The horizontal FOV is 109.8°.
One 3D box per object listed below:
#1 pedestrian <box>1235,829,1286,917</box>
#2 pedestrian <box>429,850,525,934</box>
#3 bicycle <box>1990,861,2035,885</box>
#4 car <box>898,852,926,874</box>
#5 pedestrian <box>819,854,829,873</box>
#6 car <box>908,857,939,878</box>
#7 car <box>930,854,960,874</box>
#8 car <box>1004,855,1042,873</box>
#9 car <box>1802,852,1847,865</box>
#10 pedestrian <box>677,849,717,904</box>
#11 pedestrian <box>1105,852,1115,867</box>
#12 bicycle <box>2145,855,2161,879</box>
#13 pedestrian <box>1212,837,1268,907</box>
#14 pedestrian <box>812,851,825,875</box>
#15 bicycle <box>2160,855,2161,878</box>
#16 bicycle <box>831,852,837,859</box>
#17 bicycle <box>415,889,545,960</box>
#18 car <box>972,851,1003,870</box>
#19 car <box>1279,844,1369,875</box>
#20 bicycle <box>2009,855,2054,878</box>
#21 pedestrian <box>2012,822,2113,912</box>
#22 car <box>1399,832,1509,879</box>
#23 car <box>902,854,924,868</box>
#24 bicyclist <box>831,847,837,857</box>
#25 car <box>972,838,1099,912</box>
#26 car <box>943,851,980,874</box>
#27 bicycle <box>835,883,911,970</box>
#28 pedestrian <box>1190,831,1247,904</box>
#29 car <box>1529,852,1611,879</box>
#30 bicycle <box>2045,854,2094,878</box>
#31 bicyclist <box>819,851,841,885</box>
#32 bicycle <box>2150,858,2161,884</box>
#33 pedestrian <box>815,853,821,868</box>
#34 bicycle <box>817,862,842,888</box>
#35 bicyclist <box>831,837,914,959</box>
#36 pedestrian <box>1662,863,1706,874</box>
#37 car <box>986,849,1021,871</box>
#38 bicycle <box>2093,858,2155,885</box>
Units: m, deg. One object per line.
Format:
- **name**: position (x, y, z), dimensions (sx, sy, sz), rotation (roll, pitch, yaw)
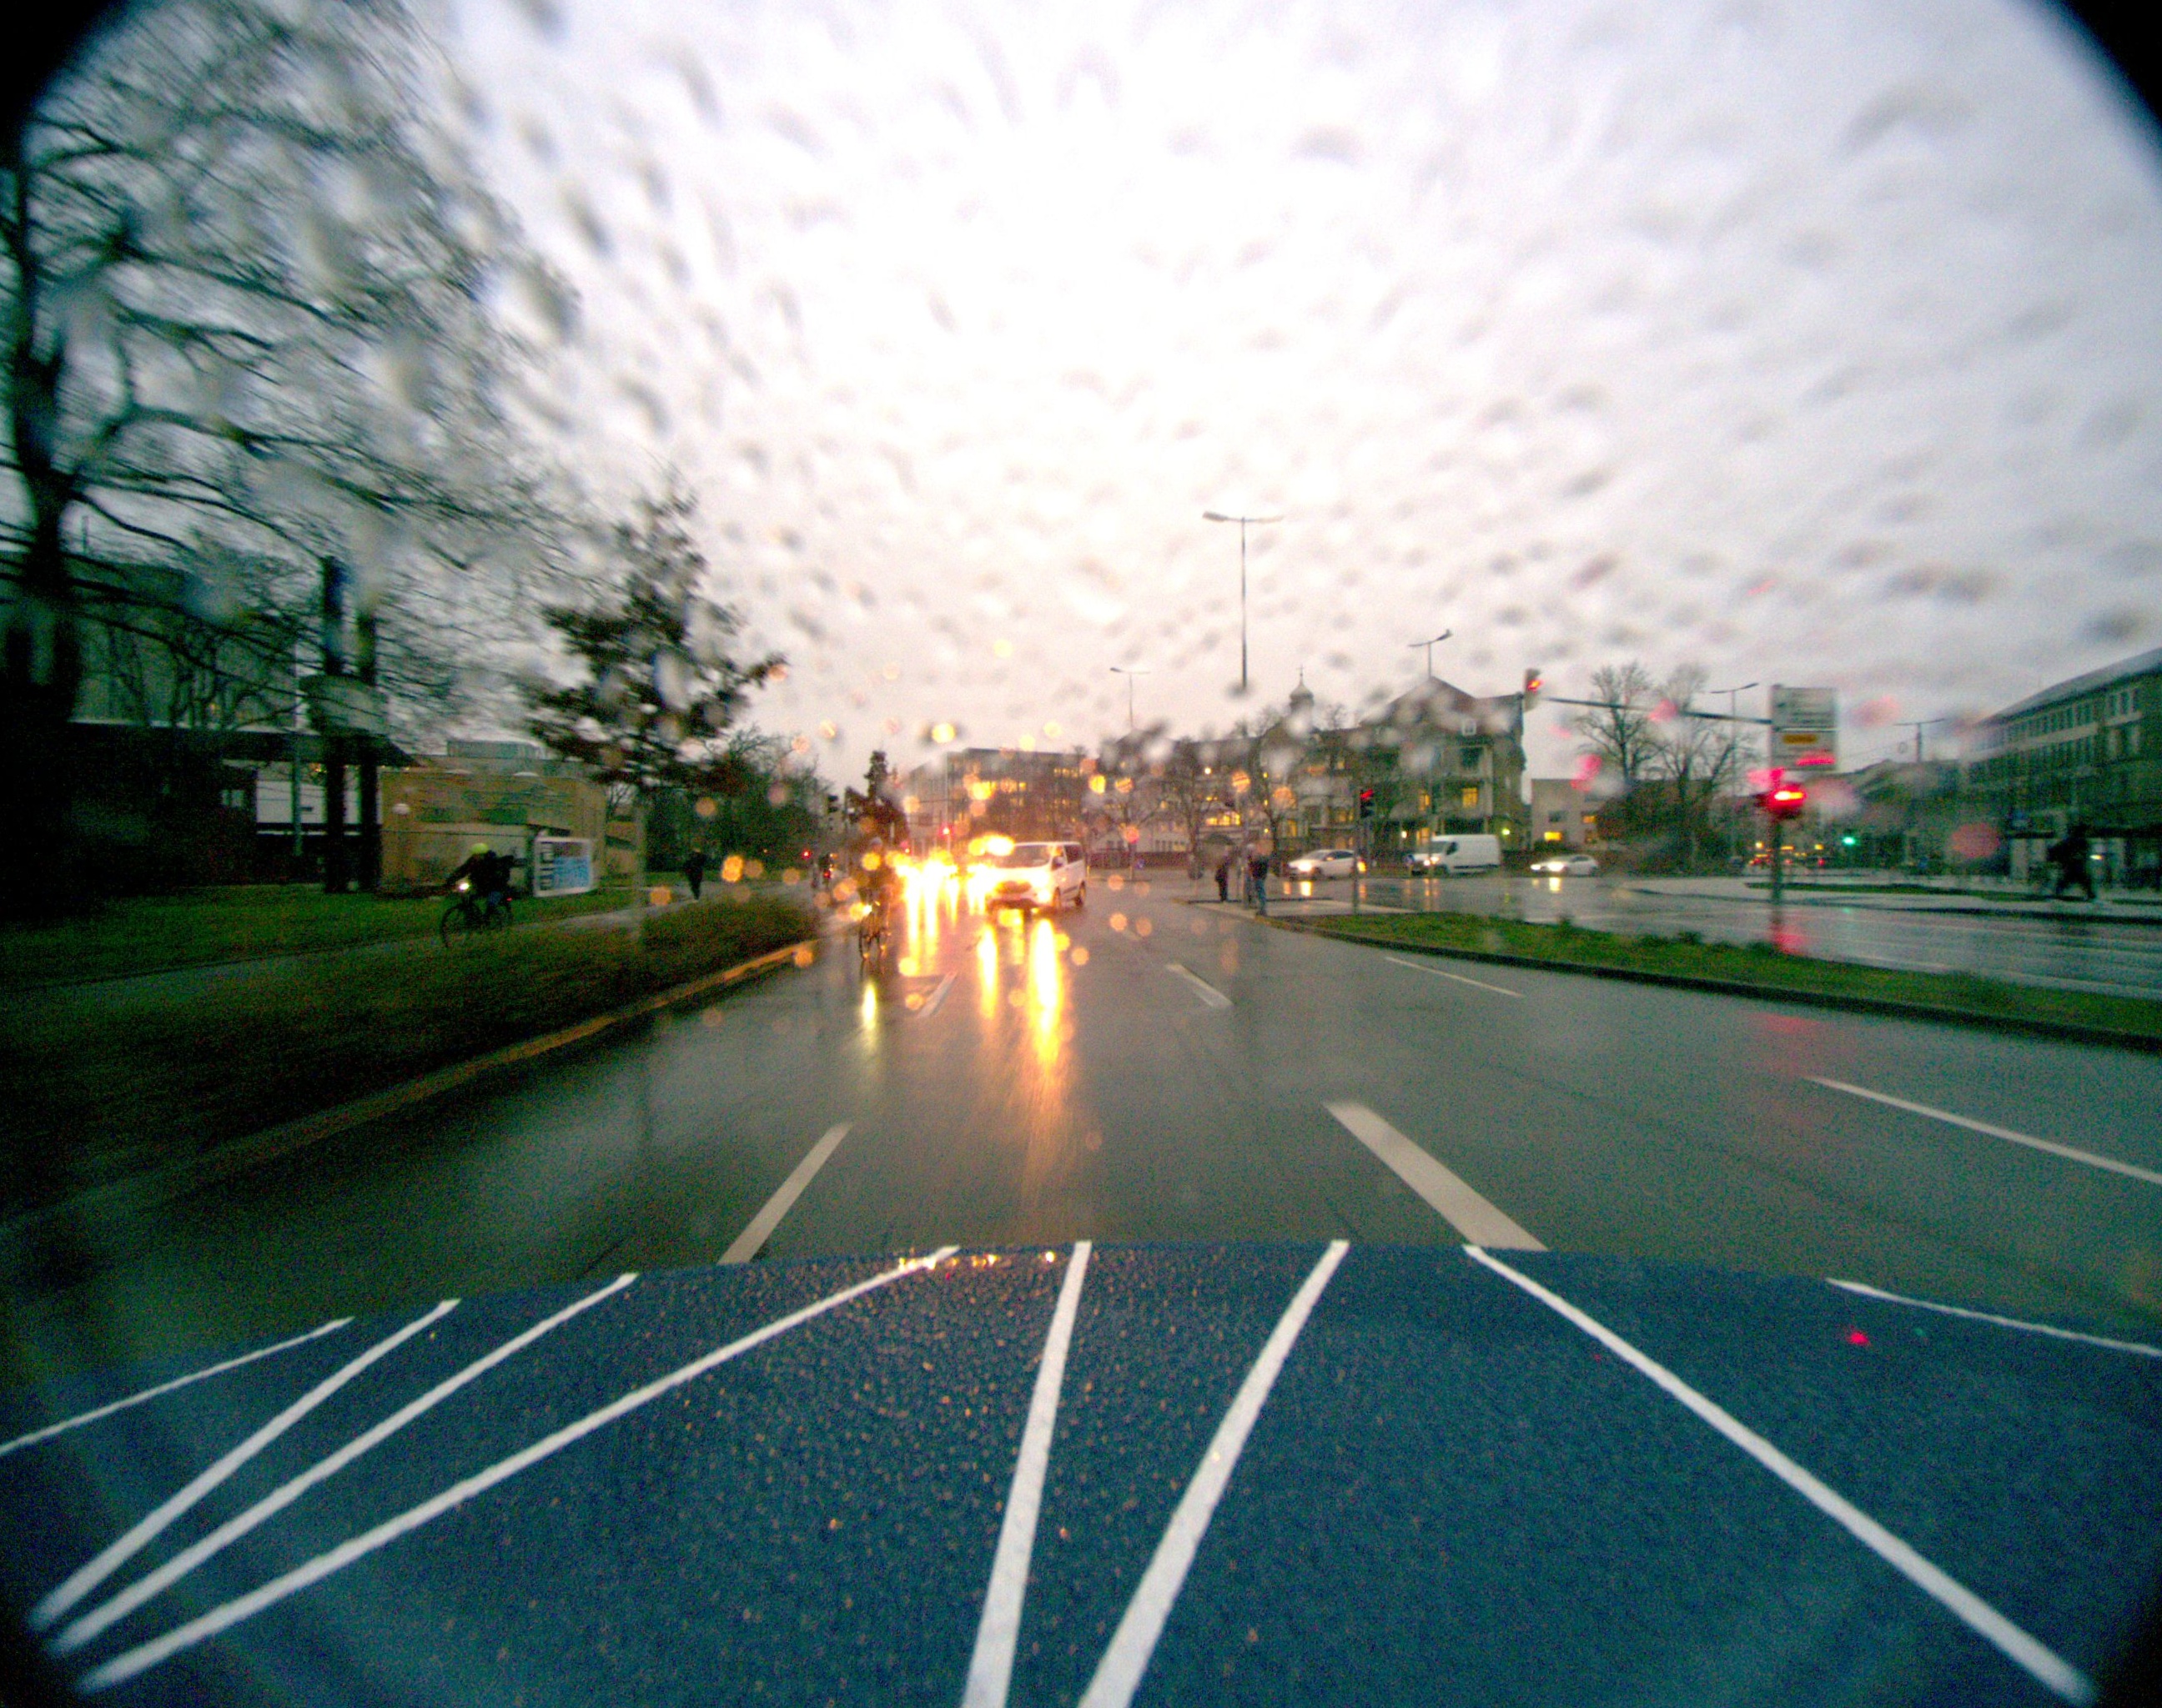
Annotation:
- **pedestrian**: position (4.205, 0.459, 17.913), dimensions (0.848, 1.993, 1.109), rotation (-1, -2, -3)
- **pedestrian**: position (-9.686, 0.587, 12.220), dimensions (0.877, 1.309, 0.848), rotation (0, 1, -5)
- **bicycle**: position (45.301, 0.942, 36.975), dimensions (0.645, 1.097, 2.757), rotation (-2, -3, 36)
- **car**: position (-14.491, 0.762, 65.101), dimensions (2.002, 1.827, 3.994), rotation (0, 0, -18)
- **pedestrian**: position (-24.823, 0.954, 73.461), dimensions (0.934, 1.815, 0.832), rotation (0, 1, -20)
- **car**: position (-12.280, 1.027, 59.149), dimensions (1.776, 1.478, 4.462), rotation (0, 0, -20)
- **car**: position (-12.446, 0.847, 69.191), dimensions (2.002, 1.739, 4.462), rotation (0, 0, -20)
- **car**: position (-4.729, 0.768, 61.370), dimensions (1.934, 1.368, 4.490), rotation (0, 0, -20)
- **car**: position (101.835, 0.554, 104.121), dimensions (3.991, 1.739, 1.976), rotation (0, 0, 18)
- **pedestrian**: position (-11.895, 0.699, 23.558), dimensions (0.913, 1.677, 0.926), rotation (1, -2, -16)
- **pedestrian**: position (3.617, 0.643, 94.669), dimensions (0.809, 1.820, 0.946), rotation (0, 1, -23)
- **bicycle**: position (49.715, 0.594, 34.556), dimensions (0.645, 1.097, 2.757), rotation (-2, -3, 35)
- **pedestrian**: position (4.378, 0.505, 20.960), dimensions (1.037, 1.846, 1.068), rotation (0, -2, -35)
- **pedestrian**: position (-20.458, 0.709, 59.257), dimensions (0.934, 1.815, 0.832), rotation (0, 1, -20)
- **bicycle**: position (51.725, 0.568, 35.399), dimensions (0.645, 1.097, 2.757), rotation (-2, -3, 33)
- **bicycle**: position (-36.731, 0.184, 113.034), dimensions (0.795, 1.009, 2.898), rotation (0, 0, -19)
- **bicycle**: position (-9.639, 1.089, 12.299), dimensions (0.563, 0.941, 2.094), rotation (0, 1, -5)
- **car**: position (-9.225, 0.635, 74.744), dimensions (2.002, 1.739, 4.462), rotation (2, 0, -20)
- **car**: position (12.578, 0.296, 39.293), dimensions (4.322, 1.494, 1.753), rotation (0, -2, -23)
- **bicycle**: position (47.469, 0.642, 37.985), dimensions (0.645, 1.097, 2.757), rotation (-2, -3, 35)
- **pedestrian**: position (21.163, 0.300, 16.426), dimensions (1.037, 1.846, 1.231), rotation (1, -3, -40)
- **car**: position (21.260, 0.125, 43.290), dimensions (5.875, 2.502, 2.344), rotation (0, -2, -24)
- **car**: position (-20.004, 0.843, 90.301), dimensions (2.002, 1.558, 4.753), rotation (1, 0, -20)
- **bicyclist**: position (-36.727, -0.354, 113.037), dimensions (0.768, 1.481, 0.992), rotation (0, 1, -19)
- **car**: position (-1.156, 0.639, 22.237), dimensions (2.134, 1.909, 5.025), rotation (-1, -2, 16)
- **car**: position (-9.585, 0.679, 60.645), dimensions (2.002, 1.739, 4.937), rotation (0, 0, -20)
- **bicycle**: position (-3.392, 1.144, 12.556), dimensions (0.794, 1.215, 1.903), rotation (-2, 0, -3)
- **pedestrian**: position (3.986, 0.401, 22.043), dimensions (1.217, 2.037, 1.033), rotation (1, -2, -37)
- **car**: position (30.313, 0.677, 47.074), dimensions (4.822, 1.634, 1.835), rotation (0, 1, -22)
- **bicycle**: position (48.383, 0.596, 37.224), dimensions (0.645, 1.097, 2.757), rotation (-2, -3, 35)
- **bicyclist**: position (-12.237, 0.668, 37.019), dimensions (0.806, 1.608, 1.085), rotation (3, 0, -10)
- **bicycle**: position (46.234, 0.732, 31.712), dimensions (0.645, 1.098, 2.756), rotation (-2, -1, 26)
- **pedestrian**: position (-35.619, 0.876, 102.932), dimensions (0.767, 2.002, 0.771), rotation (0, 1, -21)
- **bicycle**: position (-12.250, 1.005, 37.066), dimensions (0.806, 1.135, 2.211), rotation (3, 0, -10)
- **bicyclist**: position (-3.389, 0.686, 12.483), dimensions (1.027, 1.872, 1.235), rotation (-2, 1, -4)
- **pedestrian**: position (55.113, 1.299, 69.463), dimensions (3.091, 0.924, 0.951), rotation (-3, -3, 37)
- **car**: position (-7.093, 0.538, 68.944), dimensions (2.003, 1.739, 4.462), rotation (7, -2, -19)
- **bicycle**: position (43.582, 0.743, 31.786), dimensions (0.645, 1.097, 2.757), rotation (-2, -3, 36)
